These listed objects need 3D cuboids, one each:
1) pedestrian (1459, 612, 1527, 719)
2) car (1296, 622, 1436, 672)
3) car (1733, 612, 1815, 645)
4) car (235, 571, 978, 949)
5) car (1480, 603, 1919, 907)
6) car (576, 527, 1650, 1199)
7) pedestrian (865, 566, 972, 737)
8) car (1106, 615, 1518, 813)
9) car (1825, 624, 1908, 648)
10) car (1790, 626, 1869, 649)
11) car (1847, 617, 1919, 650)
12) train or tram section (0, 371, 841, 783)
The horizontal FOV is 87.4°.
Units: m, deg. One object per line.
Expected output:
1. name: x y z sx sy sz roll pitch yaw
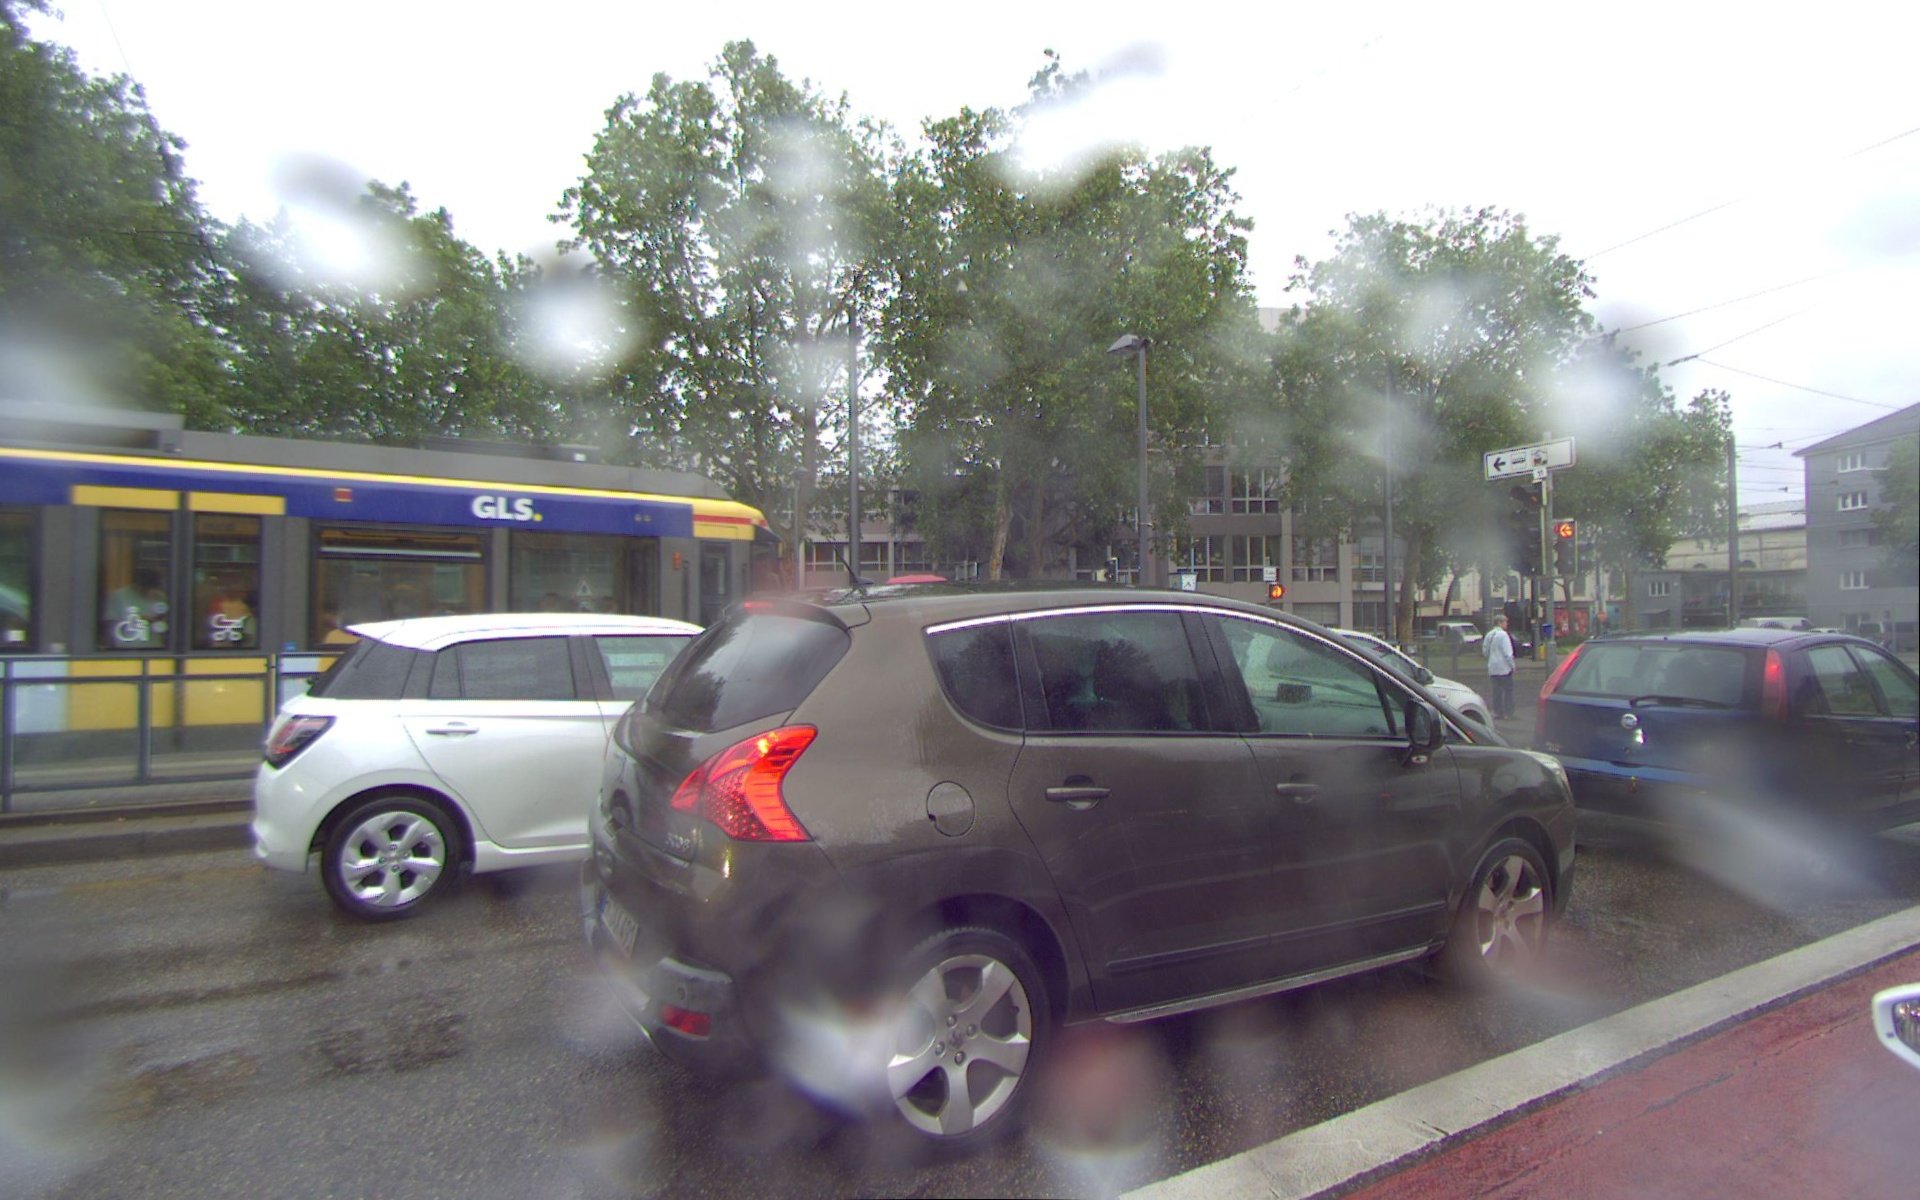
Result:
1. pedestrian: 8.417 1.016 15.876 0.731 1.628 0.623 1 0 -23
2. car: 11.573 1.344 28.677 3.466 1.331 1.594 1 0 -16
3. car: 59.646 2.070 73.645 4.698 2.228 1.998 -1 1 -6
4. car: -1.927 0.751 6.072 3.791 1.650 1.637 1 -1 -30
5. car: 5.581 0.860 7.015 3.776 1.599 1.719 1 0 -30
6. car: 0.763 0.721 4.107 4.124 1.690 1.825 1 0 -30
7. pedestrian: -0.458 0.551 10.980 0.888 1.769 0.762 0 -3 -30
8. car: 3.355 0.928 9.432 3.737 1.514 1.621 1 0 -30
9. car: 61.758 2.426 68.461 3.922 1.550 1.999 -1 0 -3
10. car: 61.322 2.609 70.895 3.922 1.516 1.960 -1 0 -3
11. car: 60.859 2.183 65.739 3.923 2.040 1.999 1 0 -3
12. train or tram section: -8.966 -0.219 9.950 15.321 3.458 3.523 1 0 -30
